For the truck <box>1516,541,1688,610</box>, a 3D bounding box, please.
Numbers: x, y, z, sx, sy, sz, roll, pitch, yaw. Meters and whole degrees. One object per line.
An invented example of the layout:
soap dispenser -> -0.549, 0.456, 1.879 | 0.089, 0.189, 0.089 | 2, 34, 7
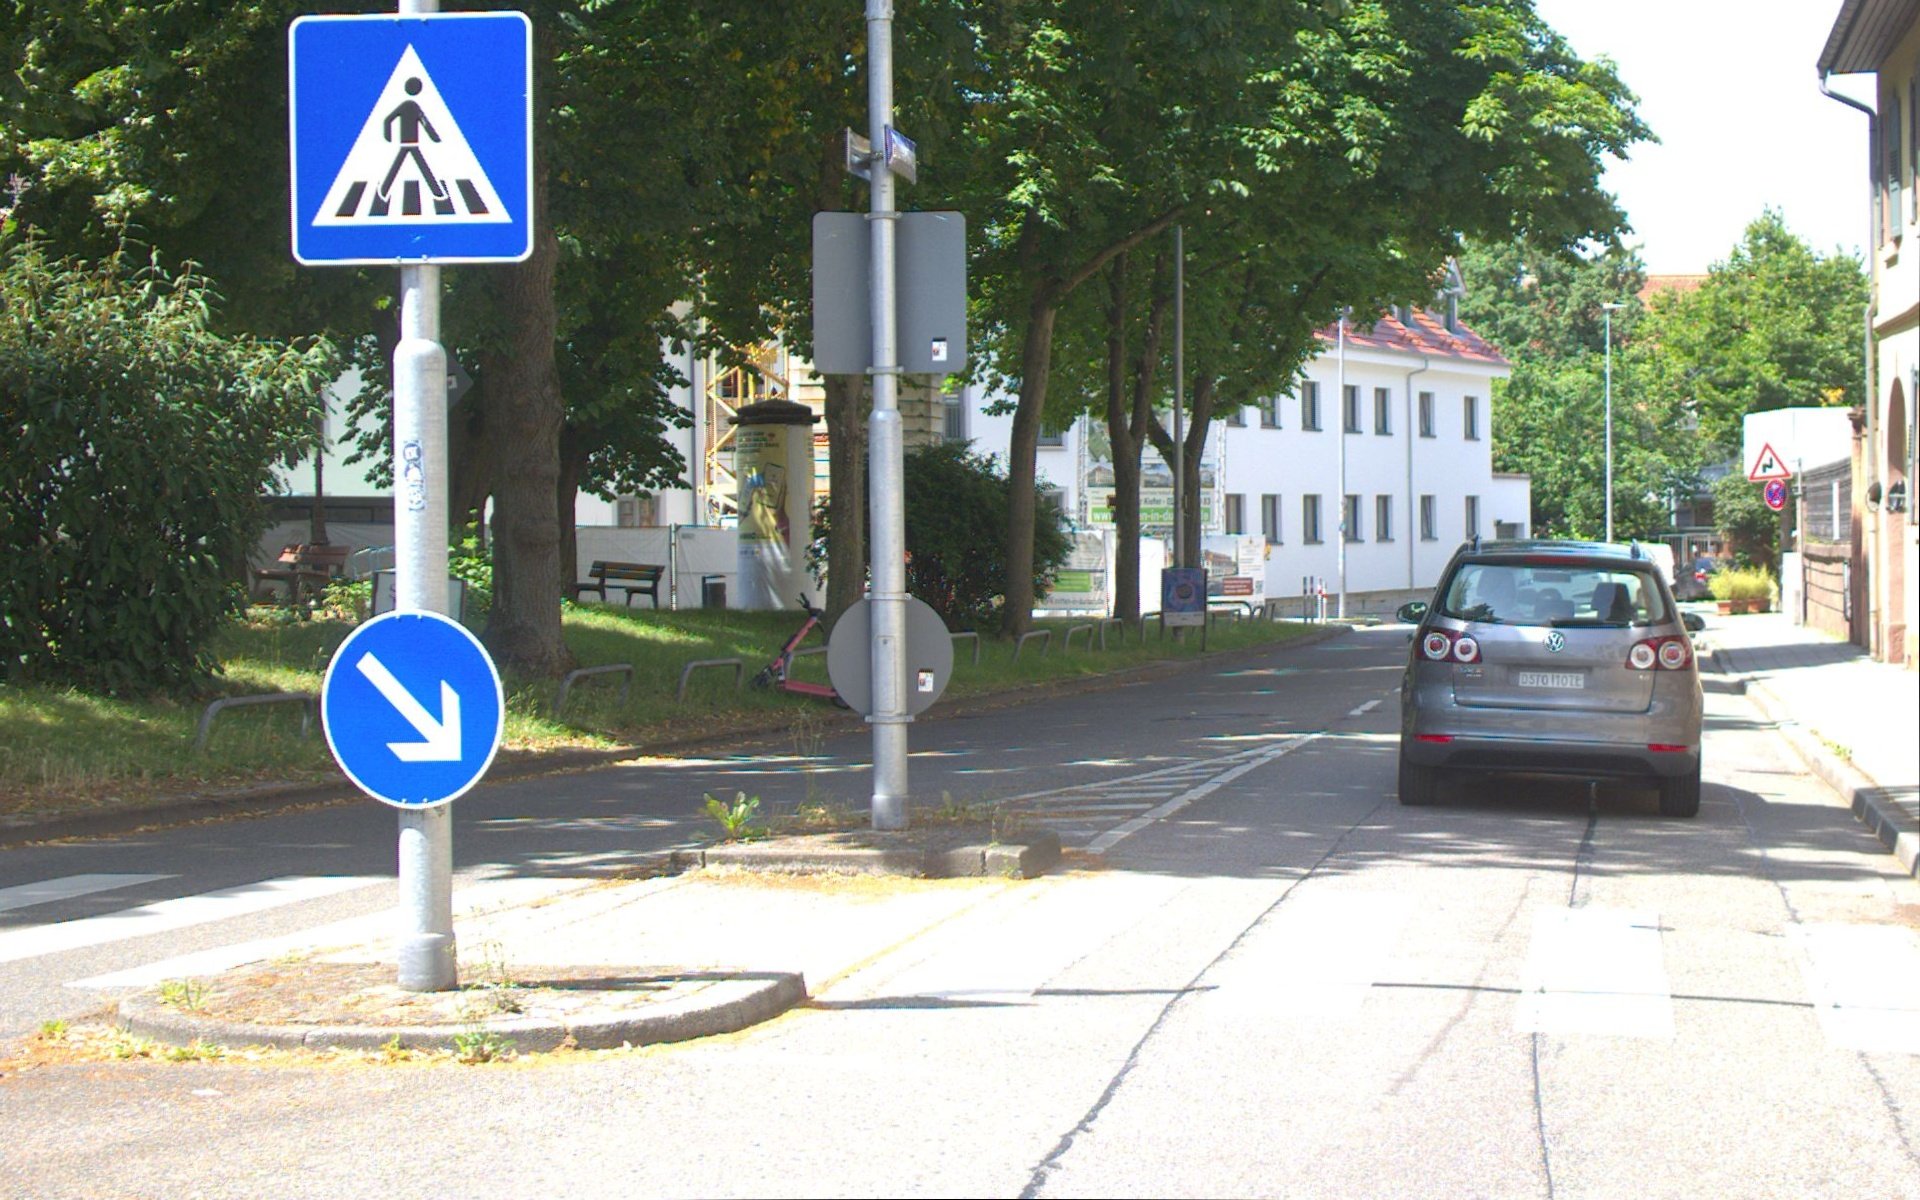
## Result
truck -> 19.017, -0.743, 102.010 | 4.794, 2.007, 2.146 | 0, 1, 4

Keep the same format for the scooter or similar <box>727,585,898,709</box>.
scooter or similar -> -1.419, 0.440, 33.381 | 1.273, 0.988, 1.451 | 9, 2, 9

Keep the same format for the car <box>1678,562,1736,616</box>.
car -> 23.002, -0.360, 105.944 | 1.648, 1.568, 3.637 | 1, 1, 11

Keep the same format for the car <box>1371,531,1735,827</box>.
car -> 3.638, 0.400, 21.148 | 1.904, 1.528, 4.242 | 3, 1, 10
